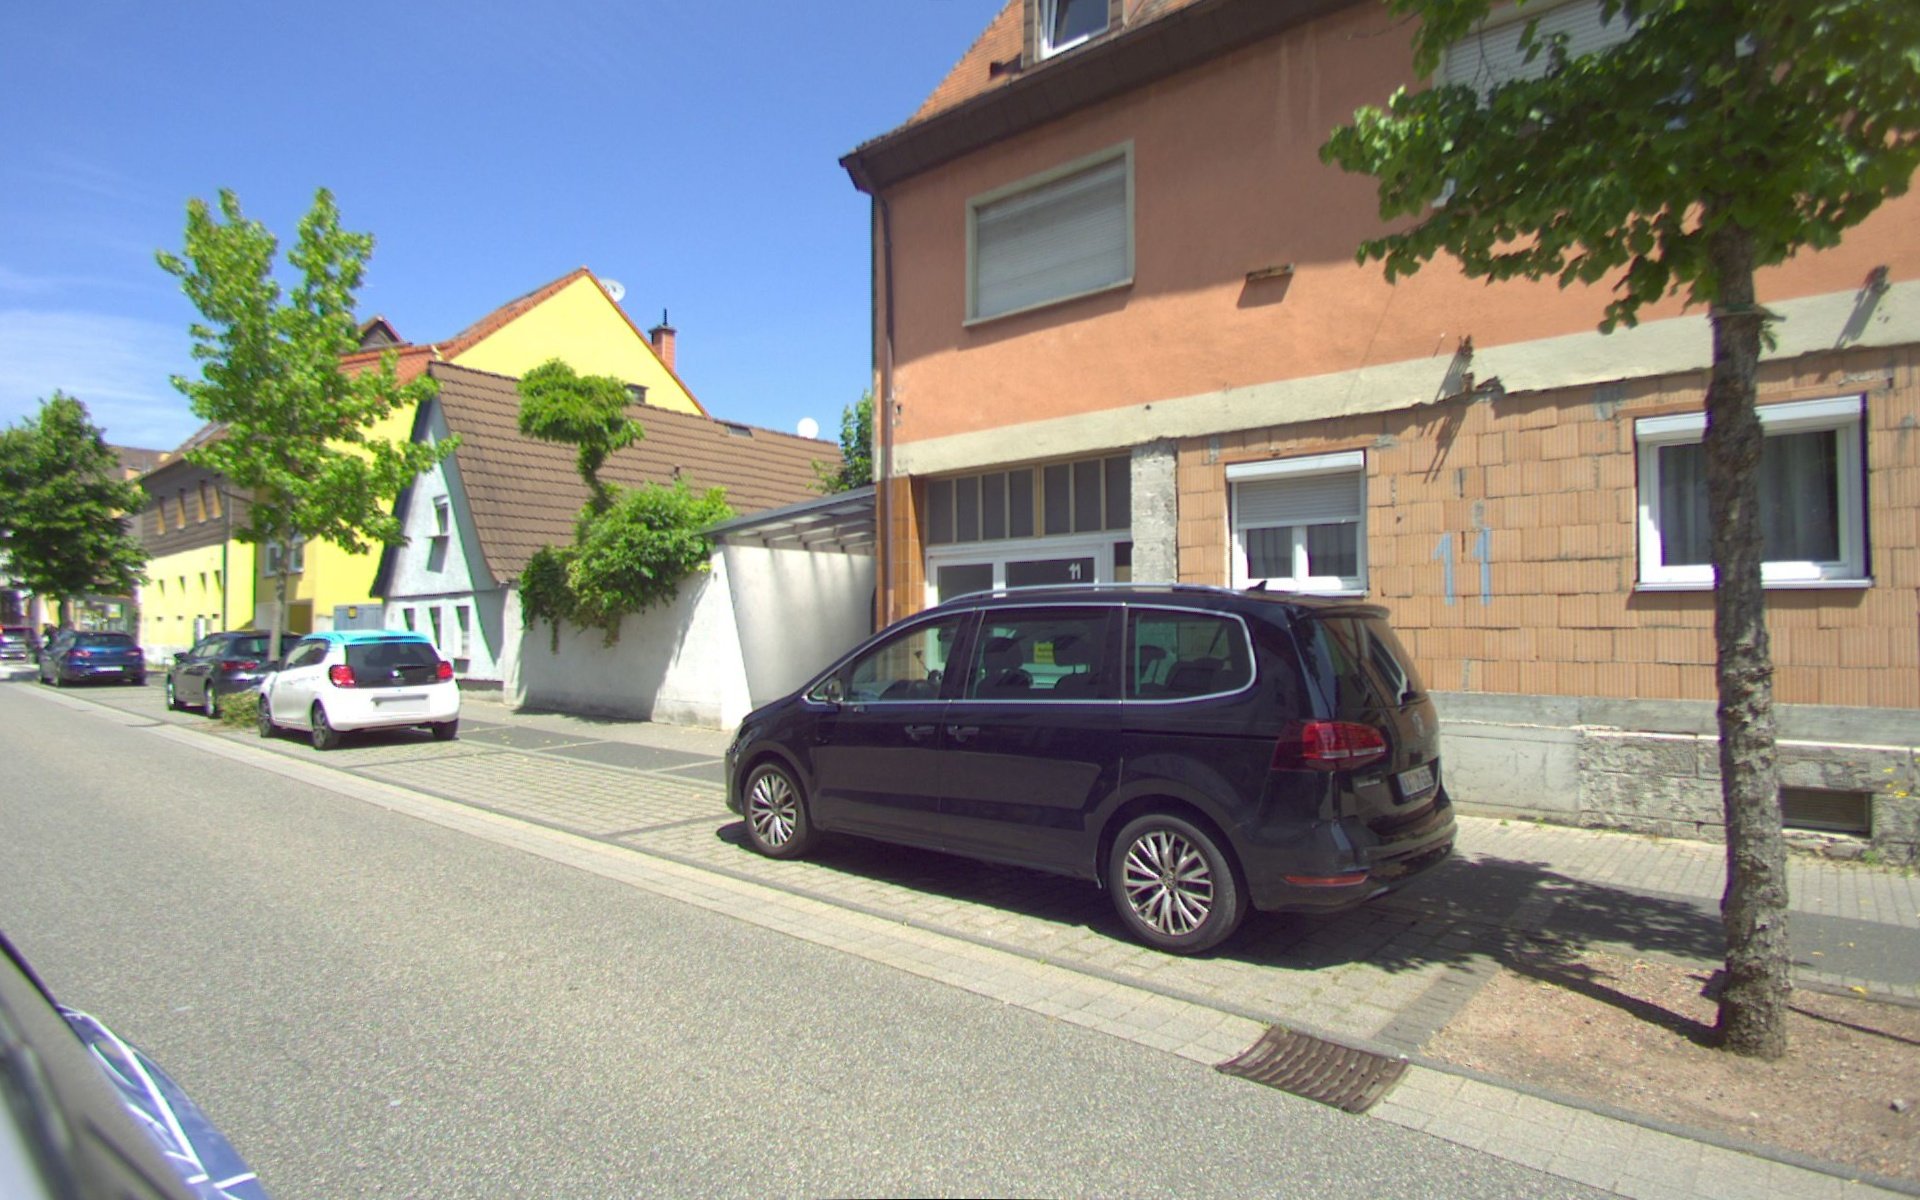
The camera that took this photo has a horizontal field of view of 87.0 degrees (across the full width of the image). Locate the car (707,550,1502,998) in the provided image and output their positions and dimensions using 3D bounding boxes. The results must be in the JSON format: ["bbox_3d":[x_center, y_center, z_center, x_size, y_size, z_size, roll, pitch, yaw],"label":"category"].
[{"bbox_3d":[0.548,0.748,6.105,4.517,1.739,1.757,-2,-3,41],"label":"car"}]

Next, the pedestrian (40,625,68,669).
[{"bbox_3d":[-33.762,1.736,37.695,0.770,1.614,0.655,-2,-3,41],"label":"pedestrian"}]

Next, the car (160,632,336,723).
[{"bbox_3d":[-12.782,1.311,18.083,4.097,1.441,1.628,-2,-4,41],"label":"car"}]

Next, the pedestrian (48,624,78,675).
[{"bbox_3d":[-28.406,1.558,32.040,0.528,1.614,0.623,-2,-3,41],"label":"pedestrian"}]

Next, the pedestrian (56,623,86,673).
[{"bbox_3d":[-28.913,1.554,32.911,0.528,1.614,0.623,-2,-3,41],"label":"pedestrian"}]

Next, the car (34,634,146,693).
[{"bbox_3d":[-22.718,1.599,26.371,4.156,1.418,1.639,-2,-3,41],"label":"car"}]

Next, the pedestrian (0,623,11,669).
[{"bbox_3d":[-34.712,1.649,36.460,0.624,1.668,0.635,-2,-4,41],"label":"pedestrian"}]

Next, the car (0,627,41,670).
[{"bbox_3d":[-37.092,1.863,39.228,4.156,1.587,1.730,-2,-2,41],"label":"car"}]

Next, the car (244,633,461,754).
[{"bbox_3d":[-8.309,1.176,13.754,3.408,1.441,1.537,-2,-3,41],"label":"car"}]
